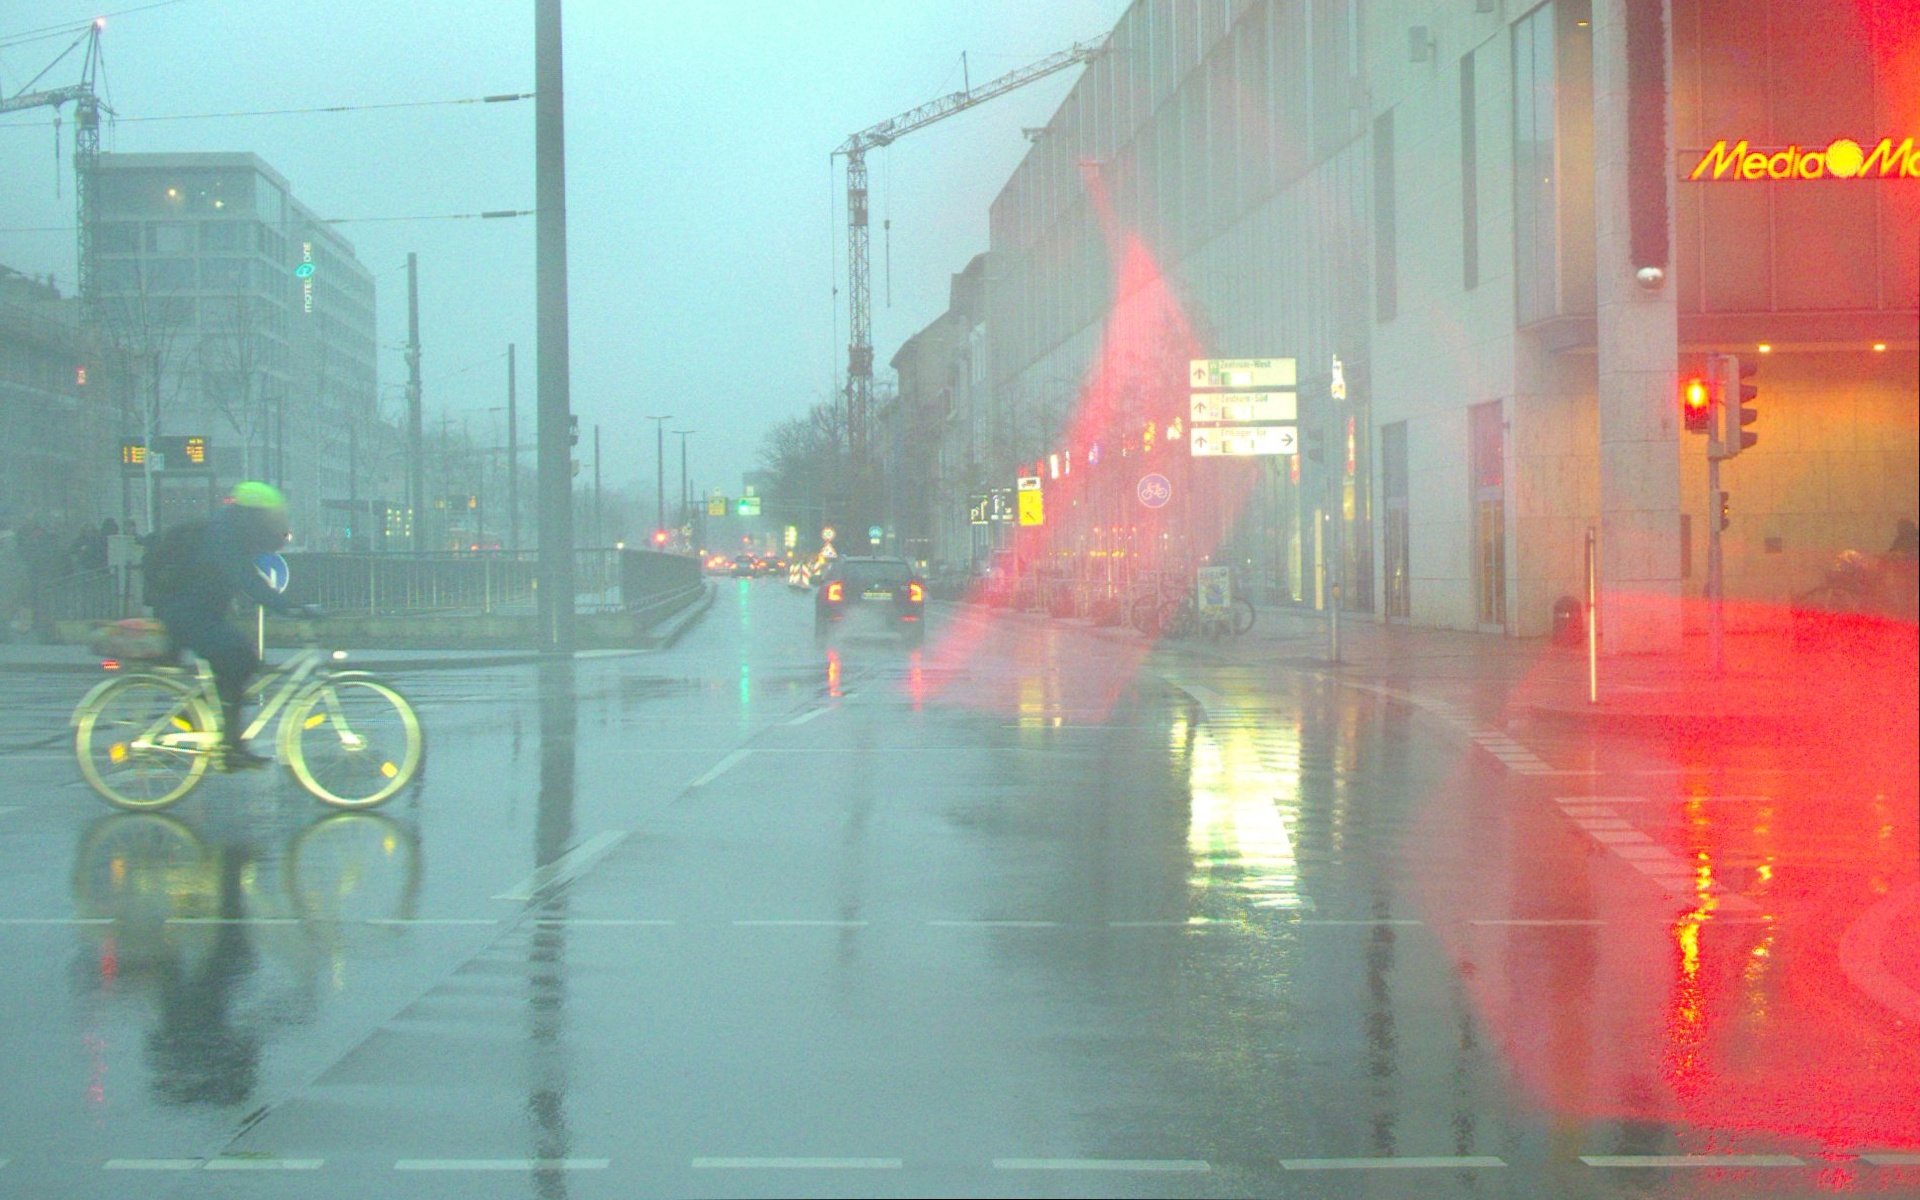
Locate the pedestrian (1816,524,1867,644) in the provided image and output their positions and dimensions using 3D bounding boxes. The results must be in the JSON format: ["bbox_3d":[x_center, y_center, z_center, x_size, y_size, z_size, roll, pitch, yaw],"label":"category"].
[{"bbox_3d":[12.720,-0.236,49.609,0.536,1.712,0.501,0,1,37],"label":"pedestrian"}]

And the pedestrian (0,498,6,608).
[{"bbox_3d":[-15.560,-0.748,54.684,0.660,1.740,0.736,-1,1,-11],"label":"pedestrian"}]

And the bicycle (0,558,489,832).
[{"bbox_3d":[-3.892,0.484,17.813,2.830,1.357,0.721,1,0,-9],"label":"bicycle"}]

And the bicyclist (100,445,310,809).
[{"bbox_3d":[-3.900,0.137,17.823,0.993,1.832,0.721,1,0,-10],"label":"bicyclist"}]

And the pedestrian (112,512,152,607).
[{"bbox_3d":[-15.235,-0.748,63.234,0.660,1.740,0.621,-1,1,-11],"label":"pedestrian"}]

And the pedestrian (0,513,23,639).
[{"bbox_3d":[-13.598,-0.329,48.246,0.703,1.754,0.652,-1,1,-3],"label":"pedestrian"}]

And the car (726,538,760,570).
[{"bbox_3d":[-14.047,-2.992,222.600,1.993,2.007,4.000,1,0,-1],"label":"car"}]

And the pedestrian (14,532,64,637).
[{"bbox_3d":[-14.357,-0.249,53.584,0.611,1.613,0.709,-1,1,-5],"label":"pedestrian"}]

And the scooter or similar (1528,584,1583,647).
[{"bbox_3d":[8.878,0.227,51.293,0.741,0.913,0.400,-1,1,1],"label":"scooter or similar"}]

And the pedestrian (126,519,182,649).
[{"bbox_3d":[-11.067,-0.226,47.236,0.633,1.766,0.484,-1,1,-2],"label":"pedestrian"}]

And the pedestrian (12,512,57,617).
[{"bbox_3d":[-15.474,-0.594,57.495,0.611,1.740,0.621,-1,1,-6],"label":"pedestrian"}]

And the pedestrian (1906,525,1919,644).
[{"bbox_3d":[14.006,-0.222,49.583,0.536,1.712,0.501,0,1,37],"label":"pedestrian"}]

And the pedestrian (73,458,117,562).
[{"bbox_3d":[-14.642,-1.517,58.202,0.619,1.740,0.613,-1,1,-6],"label":"pedestrian"}]

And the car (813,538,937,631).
[{"bbox_3d":[-1.432,-0.285,59.400,1.974,1.525,4.000,-1,1,1],"label":"car"}]
